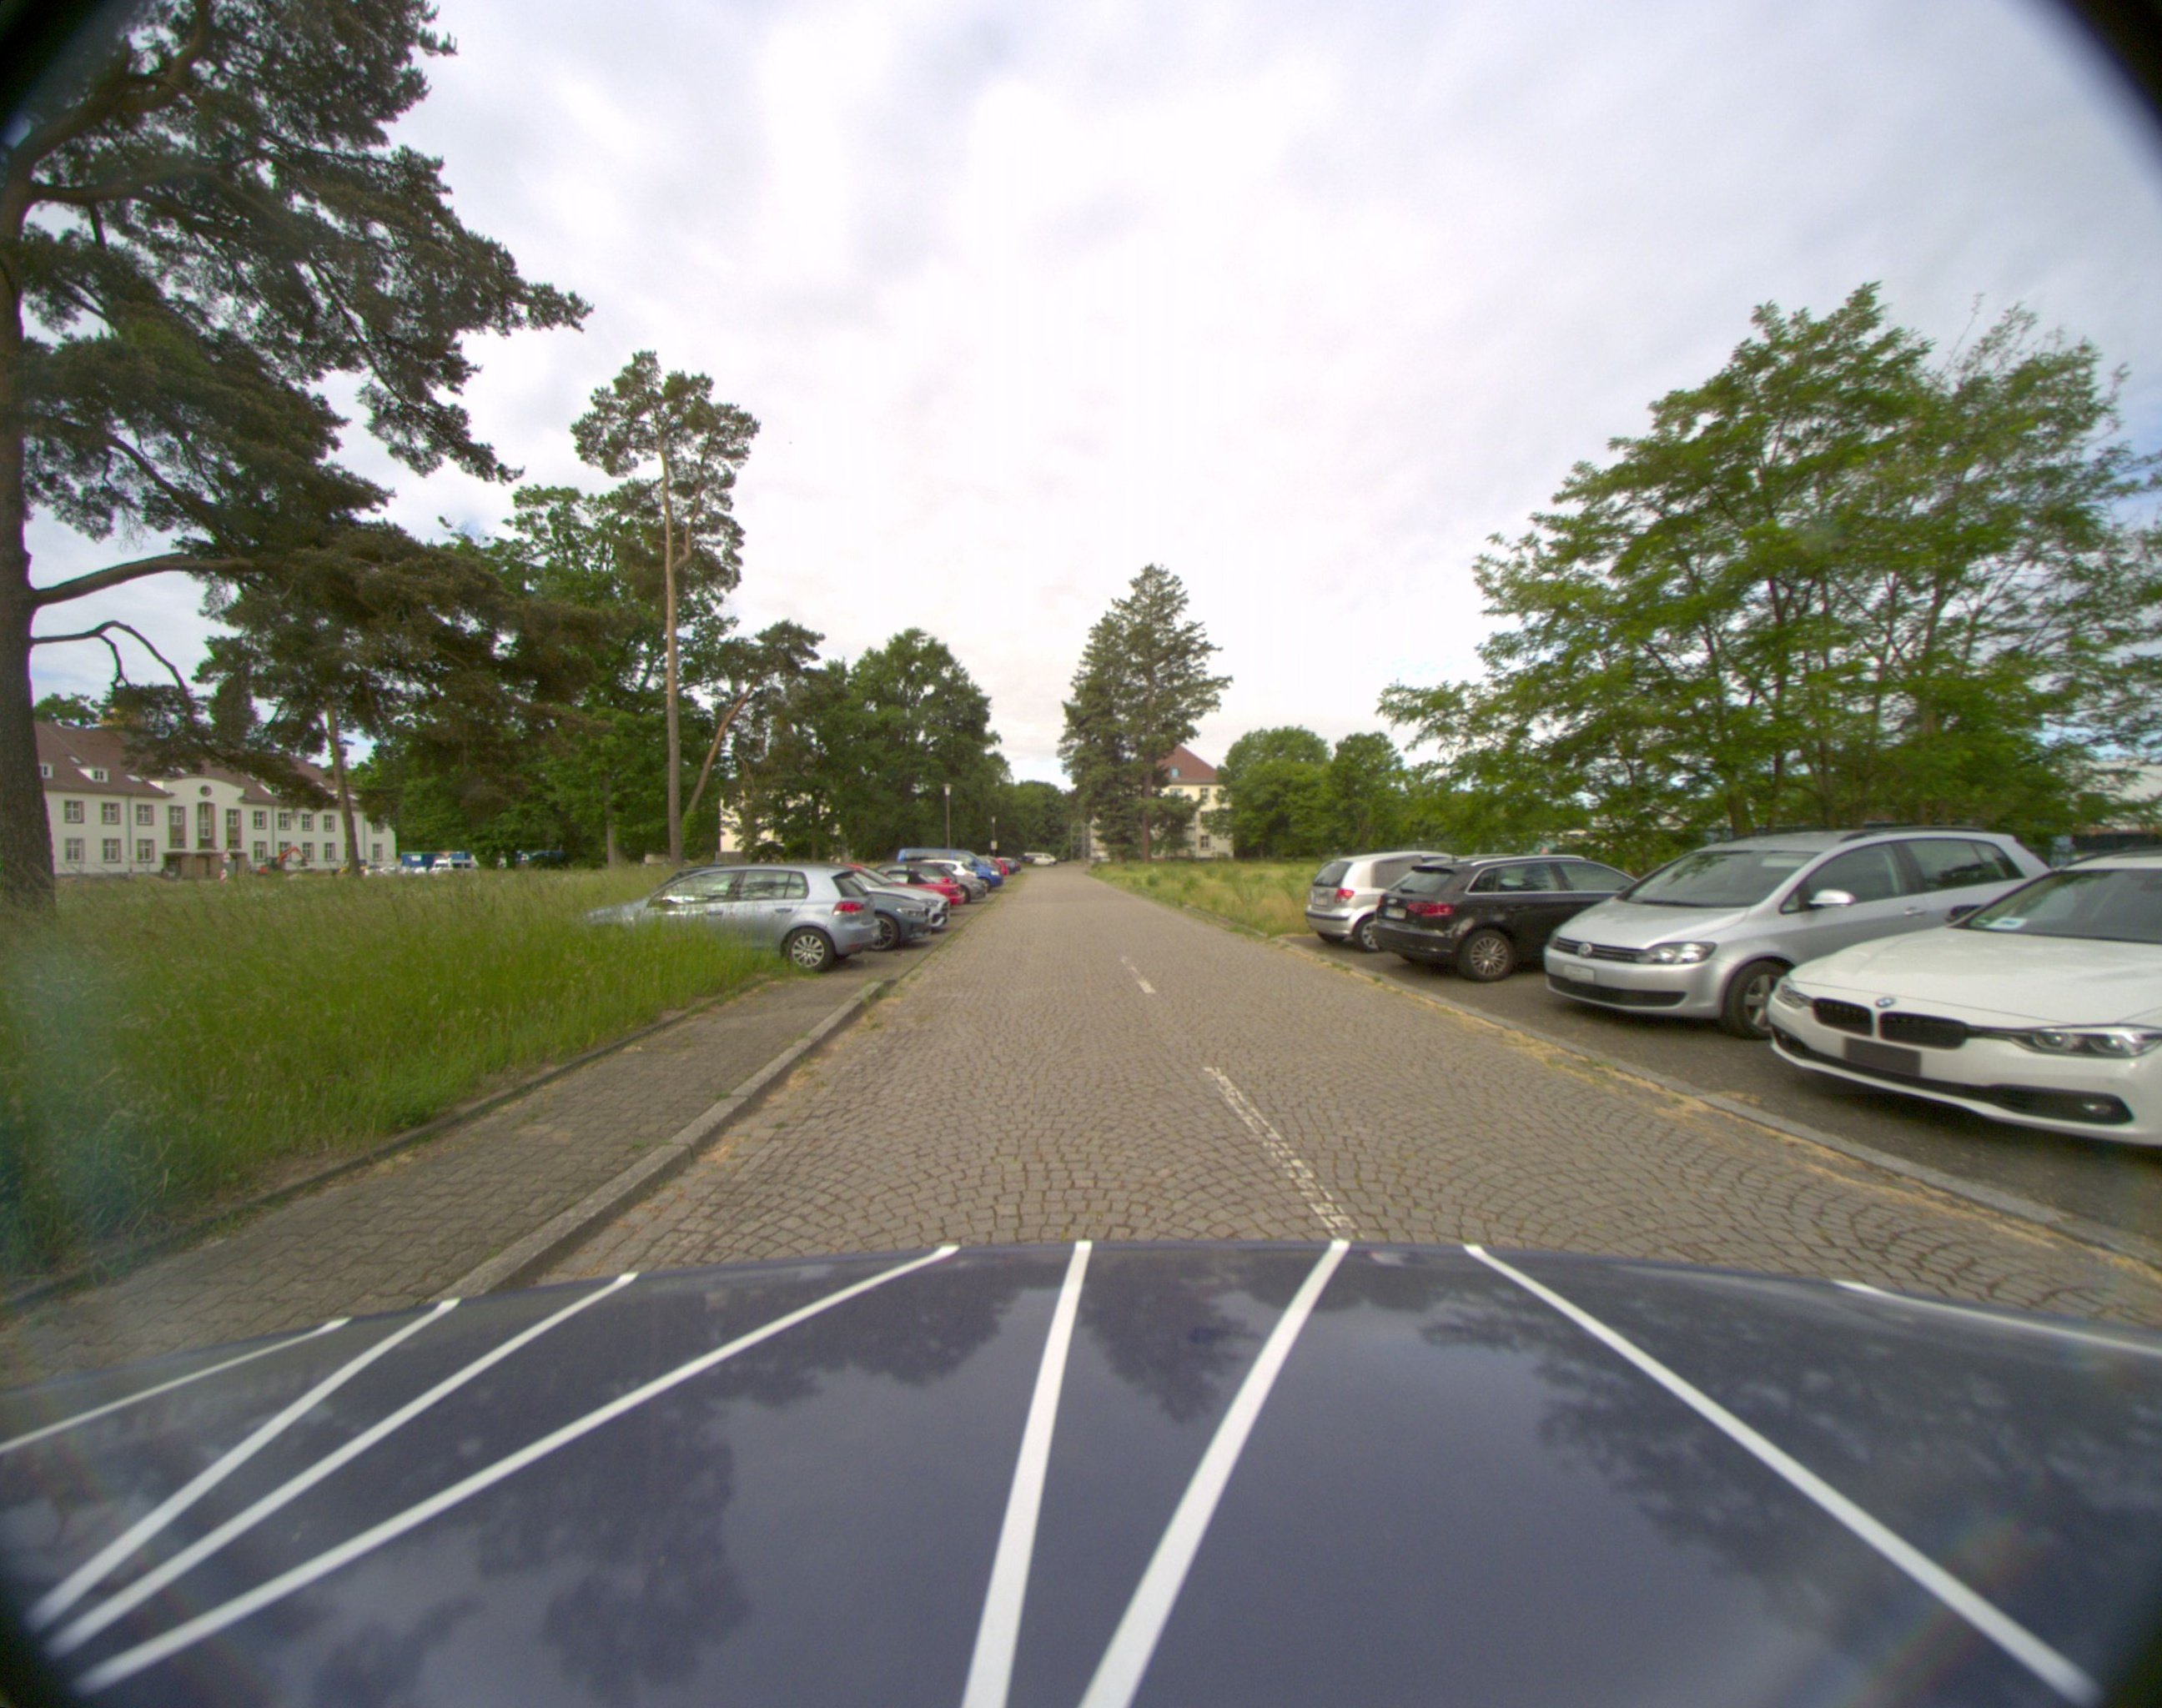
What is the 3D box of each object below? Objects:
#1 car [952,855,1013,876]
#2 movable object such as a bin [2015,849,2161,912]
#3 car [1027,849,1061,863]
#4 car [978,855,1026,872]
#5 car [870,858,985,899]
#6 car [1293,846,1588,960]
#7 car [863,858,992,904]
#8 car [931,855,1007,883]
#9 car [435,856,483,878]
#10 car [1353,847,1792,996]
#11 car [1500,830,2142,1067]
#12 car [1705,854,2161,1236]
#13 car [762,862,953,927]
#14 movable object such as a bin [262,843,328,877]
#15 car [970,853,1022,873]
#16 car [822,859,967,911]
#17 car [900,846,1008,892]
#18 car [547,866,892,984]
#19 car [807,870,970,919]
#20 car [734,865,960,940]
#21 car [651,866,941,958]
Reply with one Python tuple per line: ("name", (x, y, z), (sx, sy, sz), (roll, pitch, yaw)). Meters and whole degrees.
("car", (-6.952, 0.815, 53.748), (4.084, 1.436, 1.726), (0, 0, -1))
("movable object such as a bin", (18.812, 0.464, 13.996), (2.268, 1.119, 0.858), (0, 1, -4))
("car", (-5.692, 0.285, 117.555), (5.150, 2.137, 1.774), (0, 0, -6))
("car", (-7.139, 0.831, 68.790), (4.092, 1.524, 1.727), (0, 0, 5))
("car", (-5.830, 0.908, 29.148), (4.050, 1.507, 1.600), (0, 0, 0))
("car", (5.646, 0.715, 12.168), (3.961, 1.462, 1.584), (-3, 1, -5))
("car", (-5.224, 0.911, 26.251), (4.098, 1.507, 1.700), (0, 0, 0))
("car", (-6.341, 0.840, 43.452), (4.084, 1.584, 1.654), (0, 0, 0))
("car", (-72.004, 1.421, 88.026), (1.862, 2.351, 4.446), (-2, 1, -2))
("car", (5.957, 0.745, 9.506), (4.447, 1.416, 1.721), (-3, 1, -4))
("car", (6.455, 0.690, 6.884), (4.376, 1.588, 1.871), (-3, 1, -8))
("car", (6.633, 0.777, 4.339), (4.753, 1.479, 1.866), (-3, 0, -5))
("car", (-5.342, 0.953, 18.560), (4.184, 1.473, 1.717), (0, 0, -2))
("movable object such as a bin", (-92.387, 0.723, 89.308), (5.459, 3.748, 2.052), (-2, 1, 1))
("car", (-7.142, 0.743, 64.095), (4.082, 1.685, 1.727), (0, 0, 5))
("car", (-5.678, 0.931, 23.403), (4.050, 1.507, 1.600), (0, 0, 0))
("car", (-5.702, 0.661, 34.571), (4.602, 1.994, 1.911), (0, 1, -1))
("car", (-4.881, 0.945, 10.725), (4.012, 1.420, 1.697), (2, 0, -4))
("car", (-5.171, 1.082, 20.758), (4.051, 1.233, 1.549), (0, 0, -2))
("car", (-4.834, 0.978, 16.104), (4.248, 1.465, 1.717), (0, 0, 0))
("car", (-4.824, 0.976, 13.358), (4.441, 1.375, 1.663), (2, 0, -4))
